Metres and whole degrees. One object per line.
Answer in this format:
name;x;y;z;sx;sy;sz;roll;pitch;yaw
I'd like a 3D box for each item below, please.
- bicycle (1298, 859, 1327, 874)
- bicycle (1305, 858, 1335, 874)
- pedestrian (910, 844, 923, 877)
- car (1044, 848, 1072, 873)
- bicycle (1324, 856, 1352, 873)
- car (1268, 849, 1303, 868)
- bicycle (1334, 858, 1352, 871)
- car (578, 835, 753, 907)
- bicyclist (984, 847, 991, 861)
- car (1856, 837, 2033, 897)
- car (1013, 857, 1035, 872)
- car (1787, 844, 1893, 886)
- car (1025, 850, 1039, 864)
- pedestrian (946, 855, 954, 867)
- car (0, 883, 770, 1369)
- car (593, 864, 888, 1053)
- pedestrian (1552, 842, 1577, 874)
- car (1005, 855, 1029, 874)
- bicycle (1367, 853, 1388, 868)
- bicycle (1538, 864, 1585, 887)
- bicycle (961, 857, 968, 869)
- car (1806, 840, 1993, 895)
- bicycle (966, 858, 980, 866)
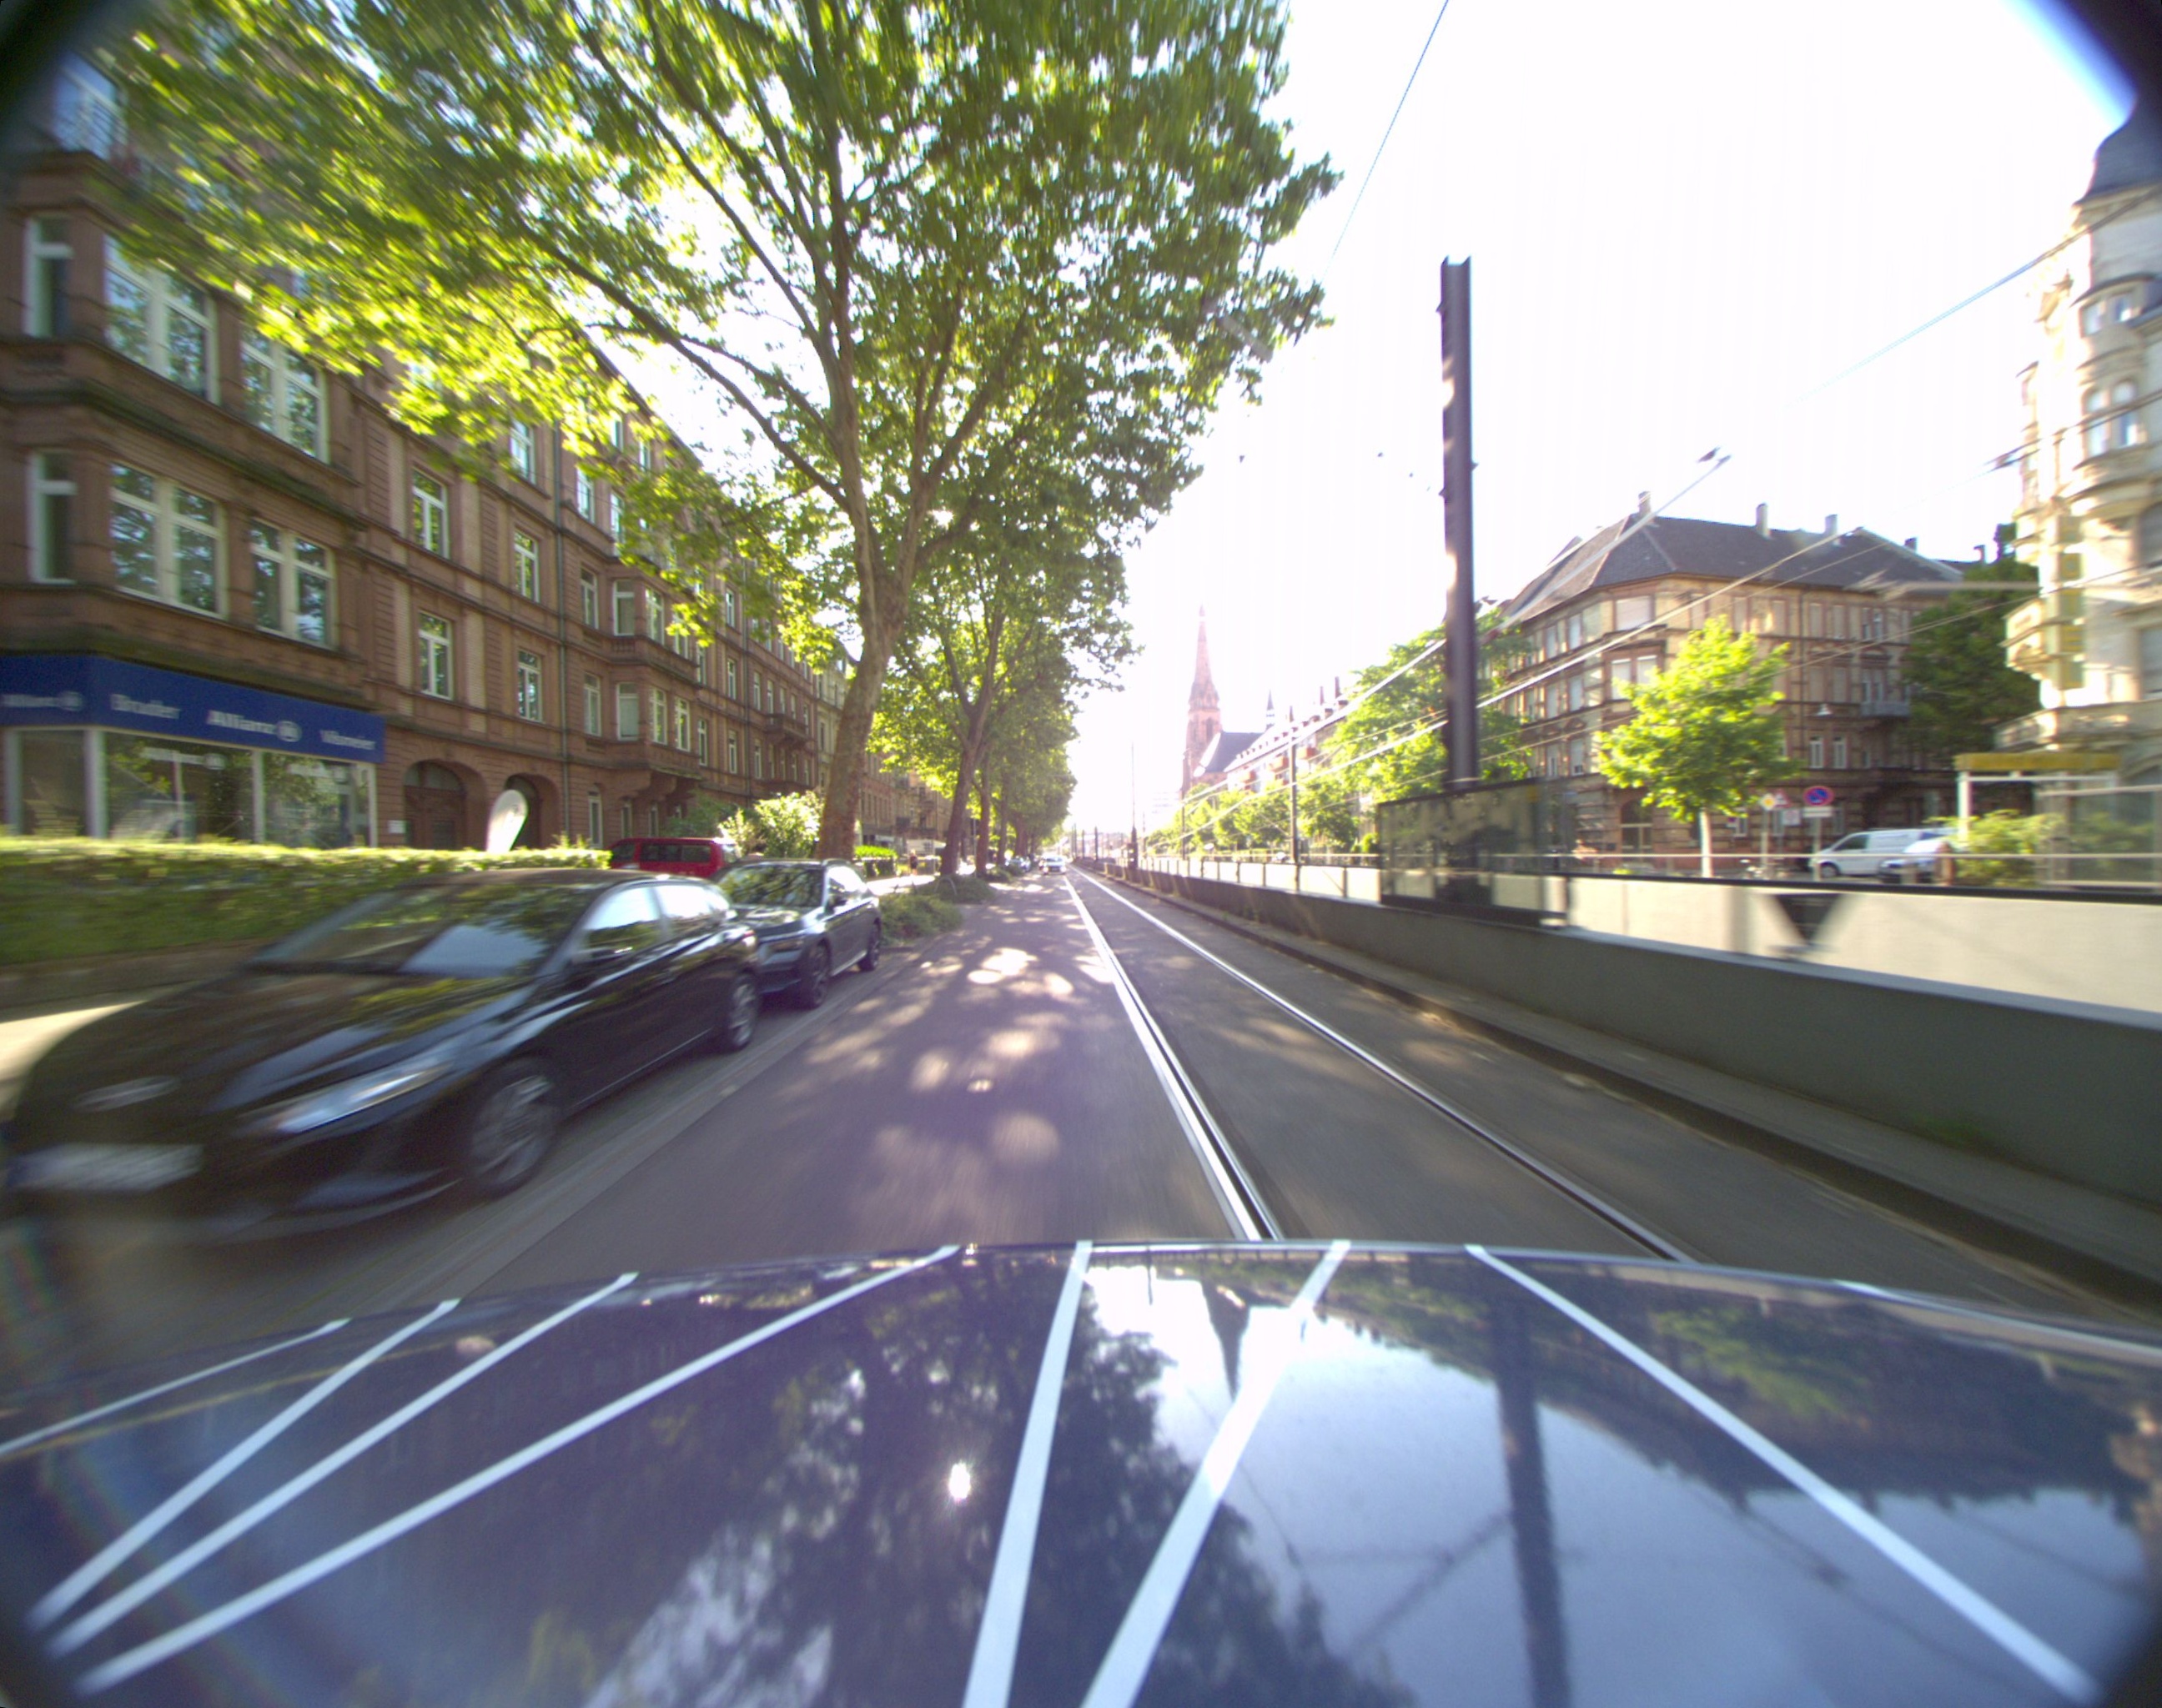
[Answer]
bicycle;18.950;1.005;62.092;2.791;1.092;0.641;-3;1;-34
bicycle;19.372;0.982;61.543;2.791;1.092;0.641;-3;1;-34
pedestrian;-10.156;0.415;46.973;0.674;2.002;0.633;0;1;-2
car;-1.749;0.515;59.186;1.823;1.728;4.001;-4;-1;2
bicycle;19.520;0.786;57.637;2.379;1.092;0.556;-3;1;-32
car;18.800;0.381;69.872;1.837;1.576;3.998;-3;0;-4
bicycle;19.640;0.816;57.026;1.271;0.900;0.538;-3;1;-32
car;-12.609;0.516;23.291;4.188;2.002;1.999;2;0;-4
bicyclist;-9.351;0.022;75.995;0.544;1.372;0.644;-3;0;-4
car;26.661;0.372;23.509;4.000;1.615;1.823;-2;0;-11
car;-5.477;0.980;73.340;1.835;1.319;3.999;-1;0;-2
car;38.770;0.566;38.841;4.449;1.838;1.997;-3;0;-18
car;-7.156;0.478;110.672;1.999;2.002;5.200;0;0;-3
pedestrian;-13.850;0.741;80.328;0.714;1.292;0.662;-1;1;-3
car;-3.432;1.010;4.624;1.556;1.490;4.049;0;0;-2
car;-3.544;0.945;8.880;1.621;1.578;4.415;0;0;-3
pedestrian;25.899;0.204;40.716;0.720;1.679;0.864;-3;1;4
car;-5.560;0.879;66.350;1.736;1.527;4.804;-1;0;-1
bicycle;22.229;0.494;57.049;0.557;1.092;2.375;-3;0;-2
bicycle;23.516;1.033;37.237;0.456;1.000;1.939;-4;4;-33
bicycle;-11.805;0.906;76.778;0.476;1.137;1.895;1;0;-2
car;31.383;0.499;29.361;2.001;1.838;4.475;-3;0;-14
bicycle;-13.898;1.036;97.765;1.697;0.911;0.602;-1;1;-13
